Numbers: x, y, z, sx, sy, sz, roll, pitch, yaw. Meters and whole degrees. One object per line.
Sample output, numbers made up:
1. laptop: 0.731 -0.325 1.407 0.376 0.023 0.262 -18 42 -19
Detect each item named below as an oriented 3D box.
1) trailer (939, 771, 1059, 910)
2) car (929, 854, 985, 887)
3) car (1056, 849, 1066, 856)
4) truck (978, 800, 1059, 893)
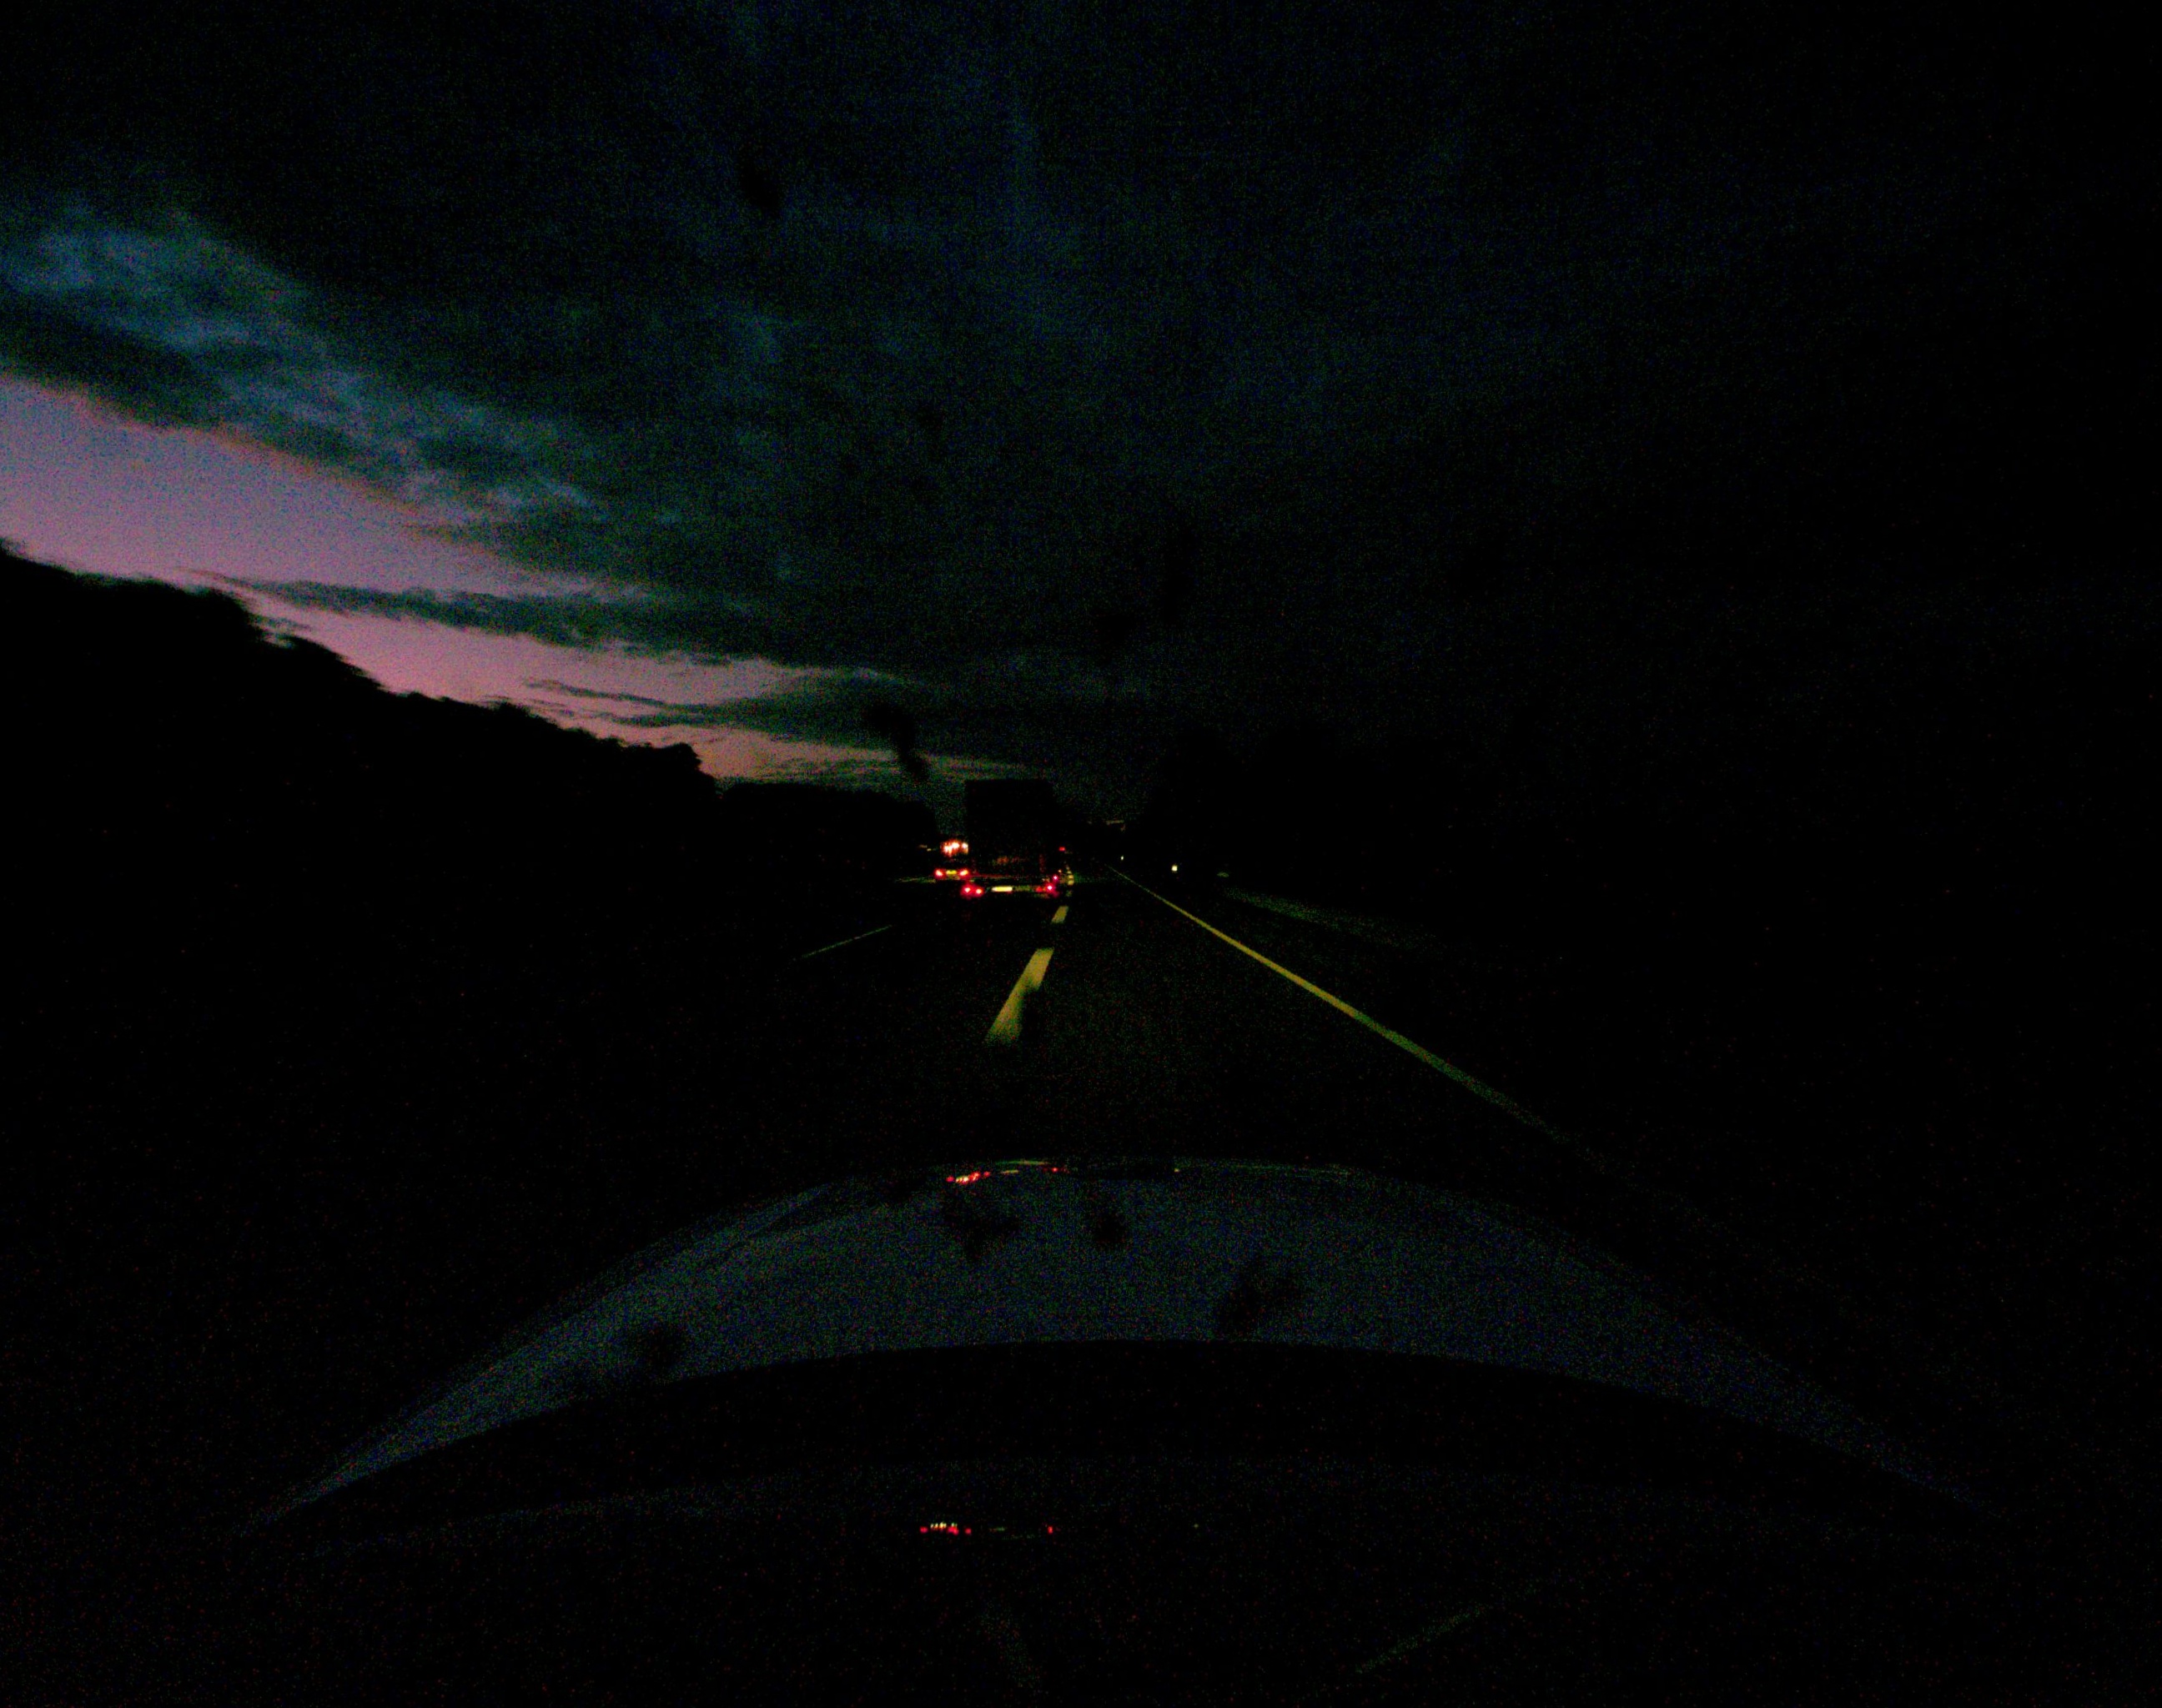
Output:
1. trailer: -2.684 -0.366 32.033 3.541 4.116 15.051 -1 0 -2
2. car: -6.516 0.910 43.262 1.898 1.614 4.807 0 -2 4
3. car: -4.519 -0.408 181.121 1.990 1.354 3.993 0 -2 -5
4. truck: -2.890 -0.311 39.455 3.541 4.091 6.146 -1 -1 -2
